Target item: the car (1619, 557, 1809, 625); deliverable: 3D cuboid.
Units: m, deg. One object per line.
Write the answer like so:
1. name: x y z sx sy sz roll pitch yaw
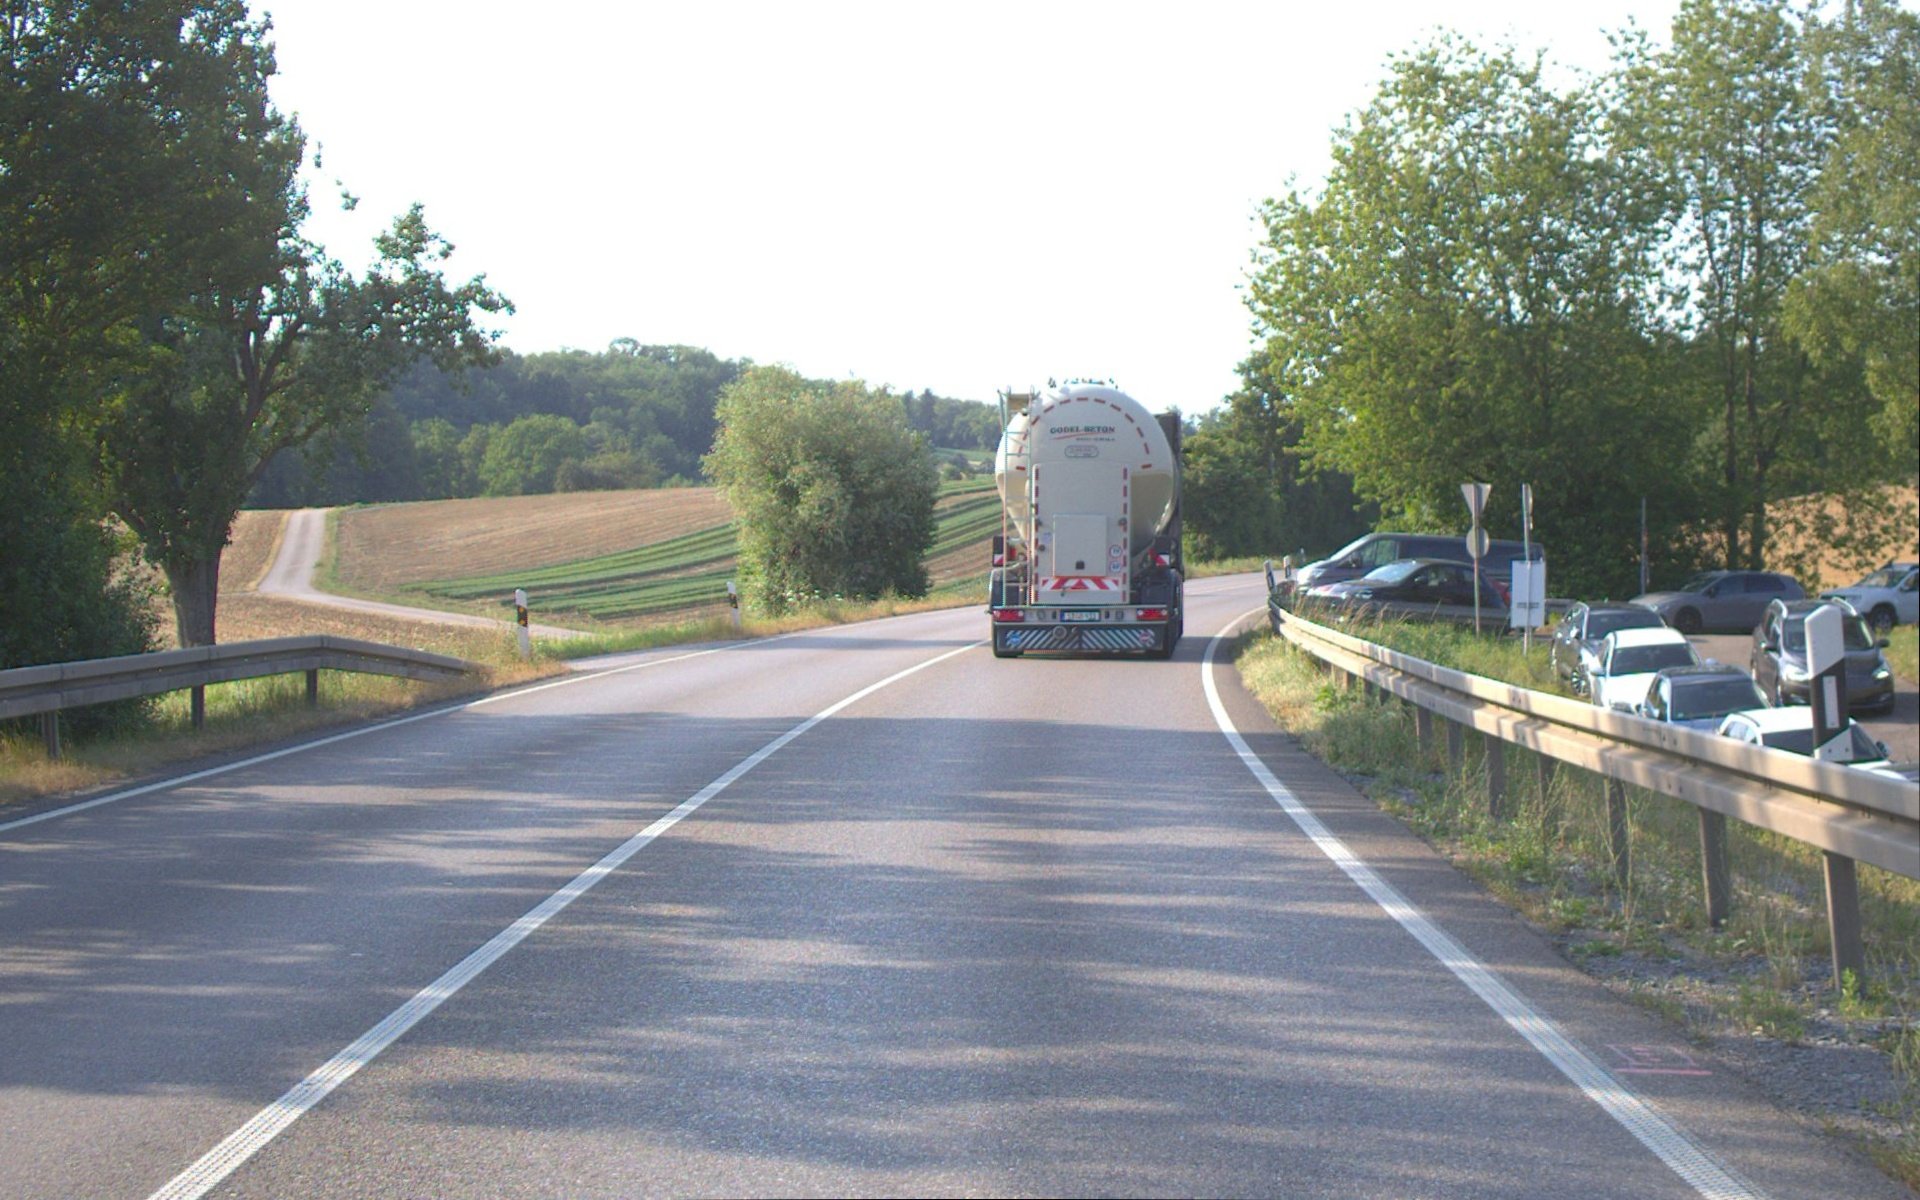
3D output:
1. car: 16.824 -0.198 76.708 3.717 1.436 1.812 1 1 -21

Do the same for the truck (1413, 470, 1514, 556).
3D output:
1. truck: 26.167 -4.556 178.077 3.186 4.213 13.162 -1 2 17

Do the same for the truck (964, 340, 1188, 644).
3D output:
1. truck: 2.012 -1.593 53.330 2.893 4.128 13.170 0 1 4

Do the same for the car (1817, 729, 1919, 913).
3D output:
1. car: 11.023 2.410 37.700 1.892 1.554 4.783 -4 3 -1

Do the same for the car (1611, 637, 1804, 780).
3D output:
1. car: 10.711 1.520 49.555 1.892 1.554 4.783 -4 3 3

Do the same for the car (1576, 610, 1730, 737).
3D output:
1. car: 11.002 1.133 54.879 1.892 1.554 4.782 -4 3 6

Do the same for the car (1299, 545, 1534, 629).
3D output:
1. car: 9.131 -0.260 68.812 4.310 1.395 1.721 3 2 -23

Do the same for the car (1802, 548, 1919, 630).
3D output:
1. car: 21.626 -0.292 78.835 4.203 1.741 1.812 -2 2 -22

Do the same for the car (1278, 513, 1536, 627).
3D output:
1. car: 9.393 -0.651 72.643 5.140 1.937 1.975 5 2 3

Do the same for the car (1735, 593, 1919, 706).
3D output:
1. car: 13.976 0.756 55.679 1.892 1.669 4.782 -1 1 2

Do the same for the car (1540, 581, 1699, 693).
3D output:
1. car: 11.469 0.603 60.065 1.892 1.554 4.783 -4 3 2

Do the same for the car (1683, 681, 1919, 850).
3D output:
1. car: 10.695 2.038 43.562 1.892 1.554 4.783 -4 3 -1
